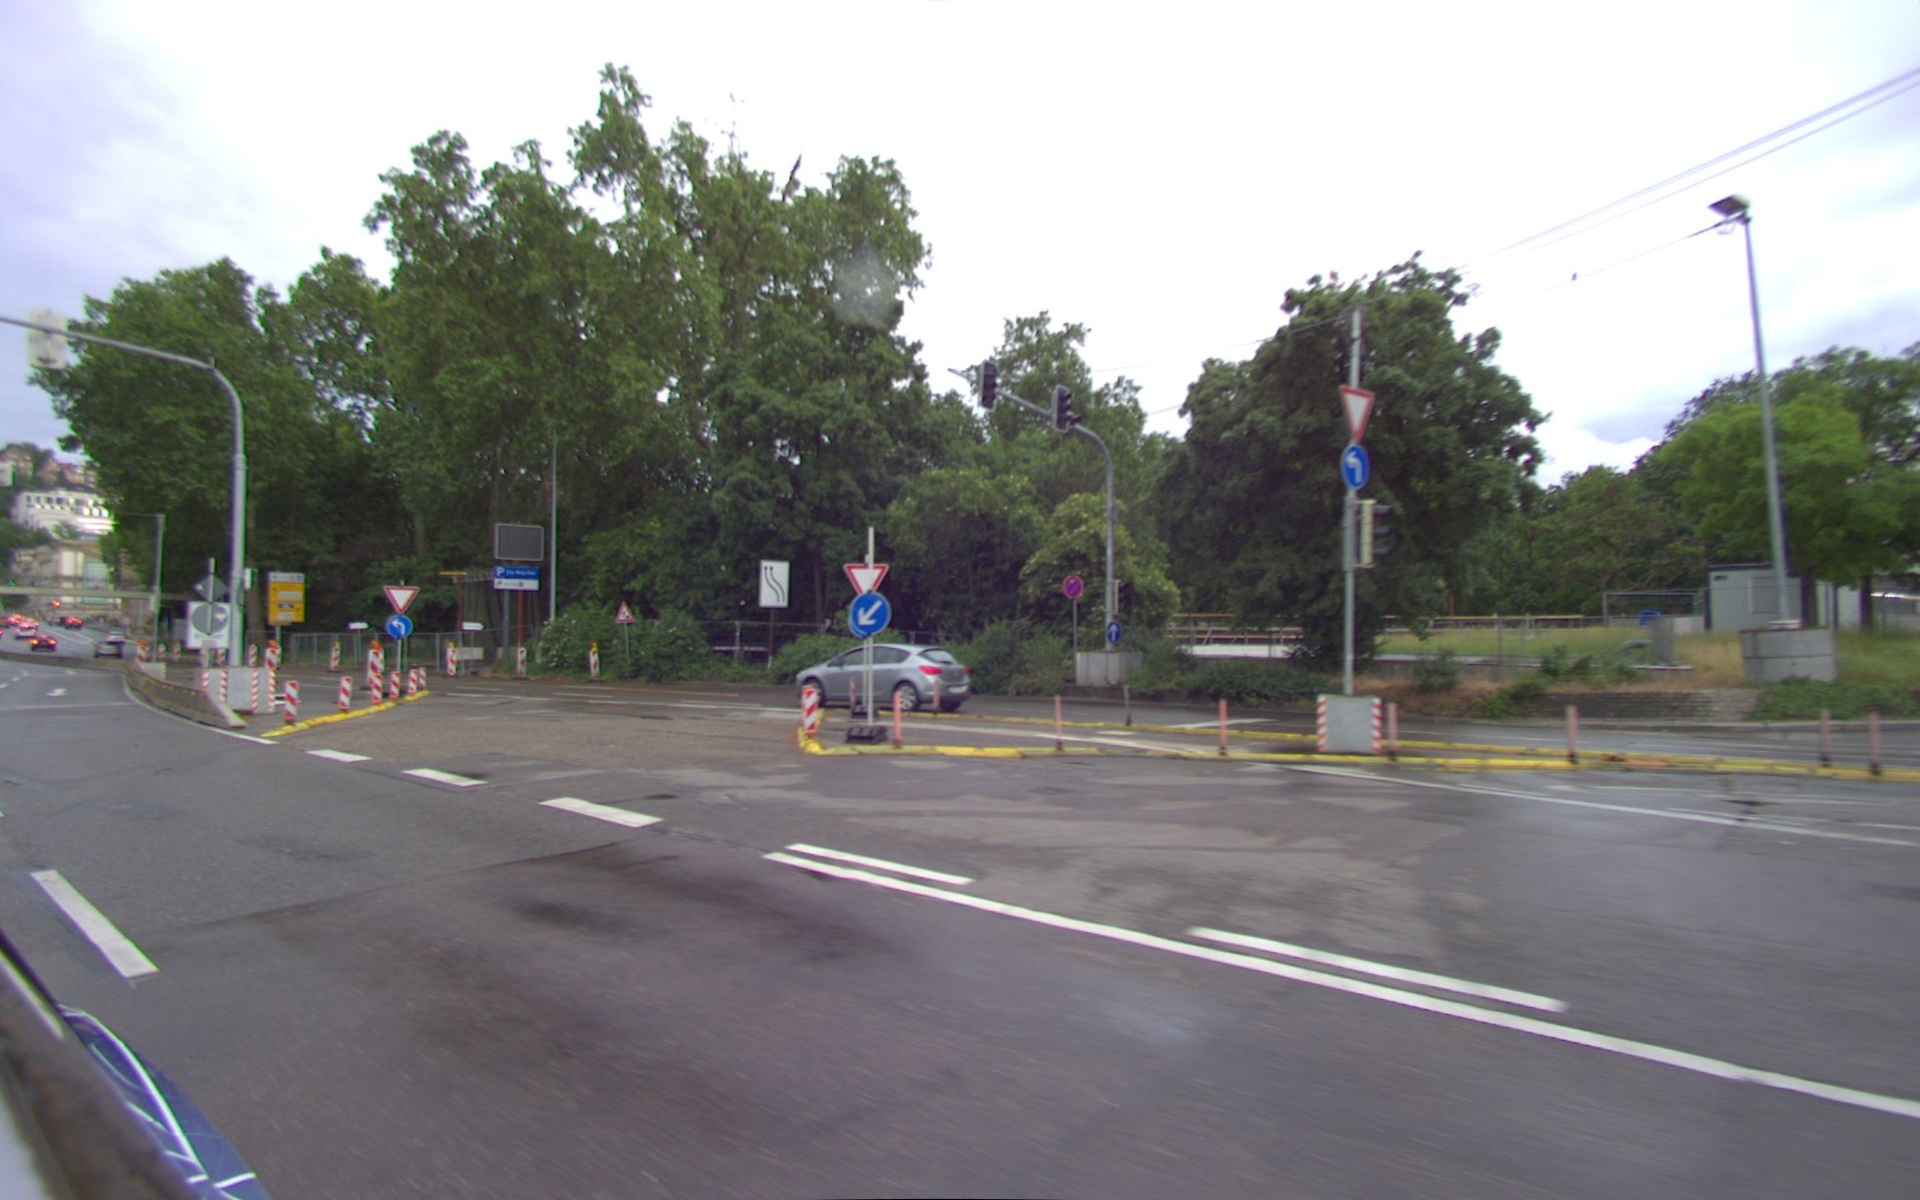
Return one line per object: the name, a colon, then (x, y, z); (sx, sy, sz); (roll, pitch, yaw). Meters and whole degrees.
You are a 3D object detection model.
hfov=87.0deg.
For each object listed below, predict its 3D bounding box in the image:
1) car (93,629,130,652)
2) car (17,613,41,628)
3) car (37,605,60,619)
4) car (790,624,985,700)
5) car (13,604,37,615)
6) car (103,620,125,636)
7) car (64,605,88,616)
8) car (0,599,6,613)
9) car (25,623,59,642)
car: (-70.059, 3.351, 83.540); (1.970, 1.552, 4.449); (5, -2, -44)
car: (-114.958, 2.526, 124.985); (2.006, 1.666, 4.918); (5, -3, -42)
car: (-151.175, 1.942, 167.882); (3.992, 2.029, 1.976); (3, -1, 35)
car: (-1.667, 1.355, 22.633); (4.169, 1.474, 1.749); (0, -4, 36)
car: (-139.282, 1.366, 150.734); (4.206, 1.393, 1.975); (3, -1, 38)
car: (-99.878, 3.303, 119.493); (1.845, 1.552, 4.097); (5, -1, -40)
car: (-138.491, 1.703, 158.495); (4.313, 1.666, 2.011); (-1, -3, 39)
car: (-143.384, 0.821, 150.116); (5.039, 1.951, 2.011); (3, -1, 39)
car: (-86.896, 3.076, 95.784); (4.580, 1.552, 1.972); (3, -2, 43)
